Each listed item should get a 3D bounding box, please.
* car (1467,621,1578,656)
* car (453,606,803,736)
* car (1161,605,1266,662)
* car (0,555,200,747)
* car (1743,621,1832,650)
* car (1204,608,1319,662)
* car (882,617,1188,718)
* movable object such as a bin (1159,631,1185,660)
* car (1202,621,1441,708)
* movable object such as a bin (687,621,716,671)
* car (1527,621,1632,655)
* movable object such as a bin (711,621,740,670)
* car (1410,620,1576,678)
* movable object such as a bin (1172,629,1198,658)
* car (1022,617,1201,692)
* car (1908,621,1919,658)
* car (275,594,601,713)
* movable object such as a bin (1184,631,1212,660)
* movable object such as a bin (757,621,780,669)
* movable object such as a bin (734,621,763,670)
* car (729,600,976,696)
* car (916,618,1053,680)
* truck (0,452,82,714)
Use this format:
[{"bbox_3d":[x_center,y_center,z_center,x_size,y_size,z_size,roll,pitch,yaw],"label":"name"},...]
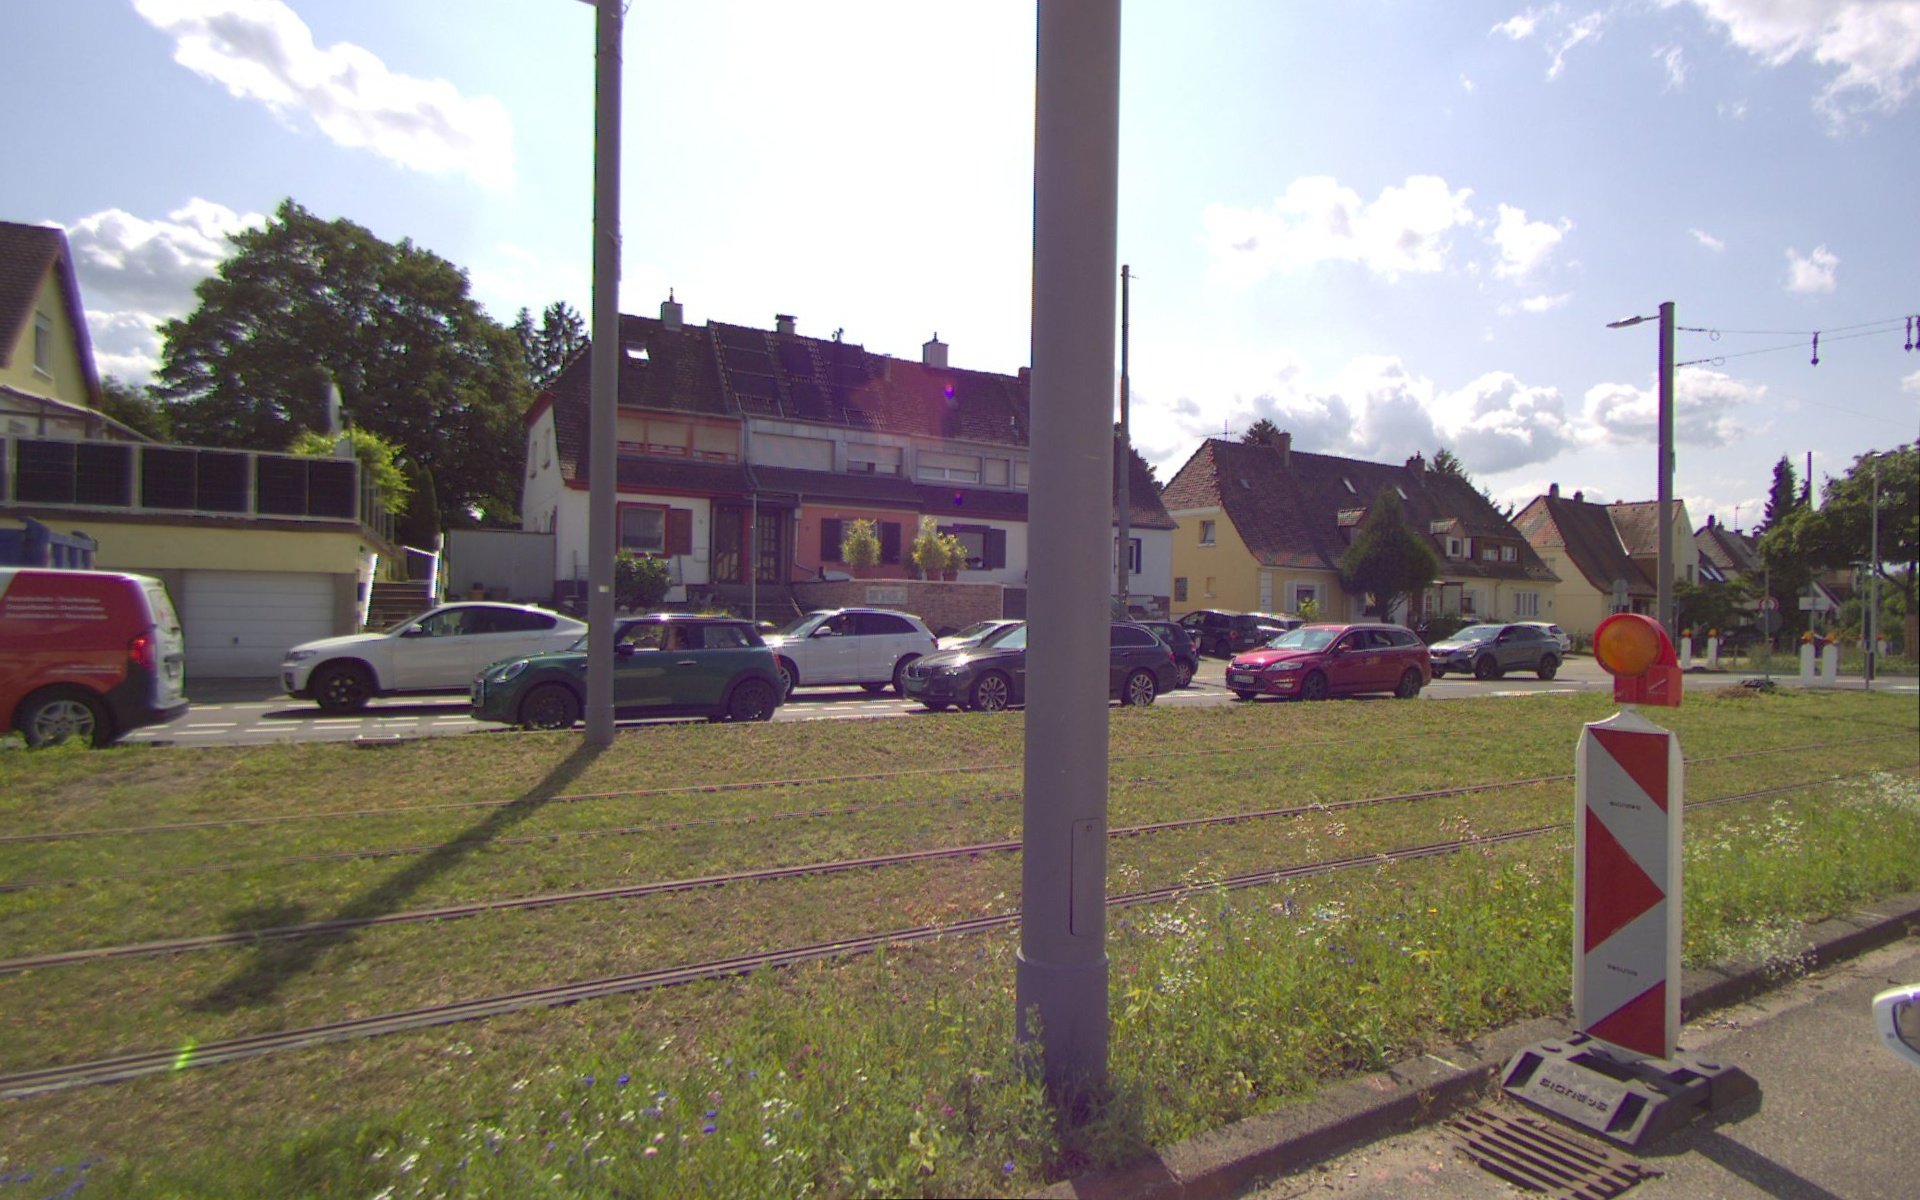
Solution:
[{"bbox_3d":[25.932,1.759,46.444,1.968,1.486,4.087,1,-1,-31],"label":"car"},{"bbox_3d":[-4.250,0.841,12.991,3.956,1.437,1.904,2,-1,-32],"label":"car"},{"bbox_3d":[8.896,1.152,35.444,1.587,1.616,3.365,1,4,-32],"label":"car"},{"bbox_3d":[-10.182,0.465,9.694,4.357,1.805,1.723,1,-1,-33],"label":"car"},{"bbox_3d":[53.745,2.287,65.312,2.080,1.800,4.082,2,-1,-34],"label":"car"},{"bbox_3d":[11.130,1.250,37.289,1.587,1.512,3.929,1,4,-32],"label":"car"},{"bbox_3d":[1.312,1.033,16.399,4.862,1.432,1.833,2,-1,-32],"label":"car"},{"bbox_3d":[7.087,1.502,33.541,0.511,0.946,0.677,1,-1,-32],"label":"movable object such as a bin"},{"bbox_3d":[7.203,1.215,19.861,4.801,1.513,1.834,2,-1,-31],"label":"car"},{"bbox_3d":[-6.336,1.114,24.628,0.569,1.200,0.442,1,-1,-36],"label":"movable object such as a bin"},{"bbox_3d":[29.685,1.790,48.265,1.685,1.417,3.966,1,1,-31],"label":"car"},{"bbox_3d":[-5.841,1.127,24.993,0.569,1.212,0.442,1,-1,-36],"label":"movable object such as a bin"},{"bbox_3d":[15.420,1.396,29.041,4.675,1.555,1.837,1,-1,-26],"label":"car"},{"bbox_3d":[7.566,1.469,33.831,0.511,0.946,0.677,1,-1,-32],"label":"movable object such as a bin"},{"bbox_3d":[3.388,1.173,22.333,3.614,1.513,1.834,2,-1,-31],"label":"car"},{"bbox_3d":[48.209,1.961,49.306,4.090,1.800,2.076,2,-1,-42],"label":"car"},{"bbox_3d":[-8.226,0.819,16.121,4.385,1.681,1.834,2,-1,-30],"label":"car"},{"bbox_3d":[8.086,1.544,34.151,0.600,0.946,0.690,1,-1,-33],"label":"movable object such as a bin"},{"bbox_3d":[-4.900,1.151,25.698,0.437,1.197,0.442,1,-1,-36],"label":"movable object such as a bin"},{"bbox_3d":[-5.333,1.136,25.376,0.569,1.217,0.442,1,-1,-36],"label":"movable object such as a bin"},{"bbox_3d":[-2.058,0.899,19.672,4.456,1.691,1.833,2,-1,-32],"label":"car"},{"bbox_3d":[0.628,1.188,25.019,3.052,1.438,1.558,2,-1,-31],"label":"car"},{"bbox_3d":[-15.492,-0.291,11.686,7.500,3.230,2.753,2,-1,-33],"label":"truck"}]
